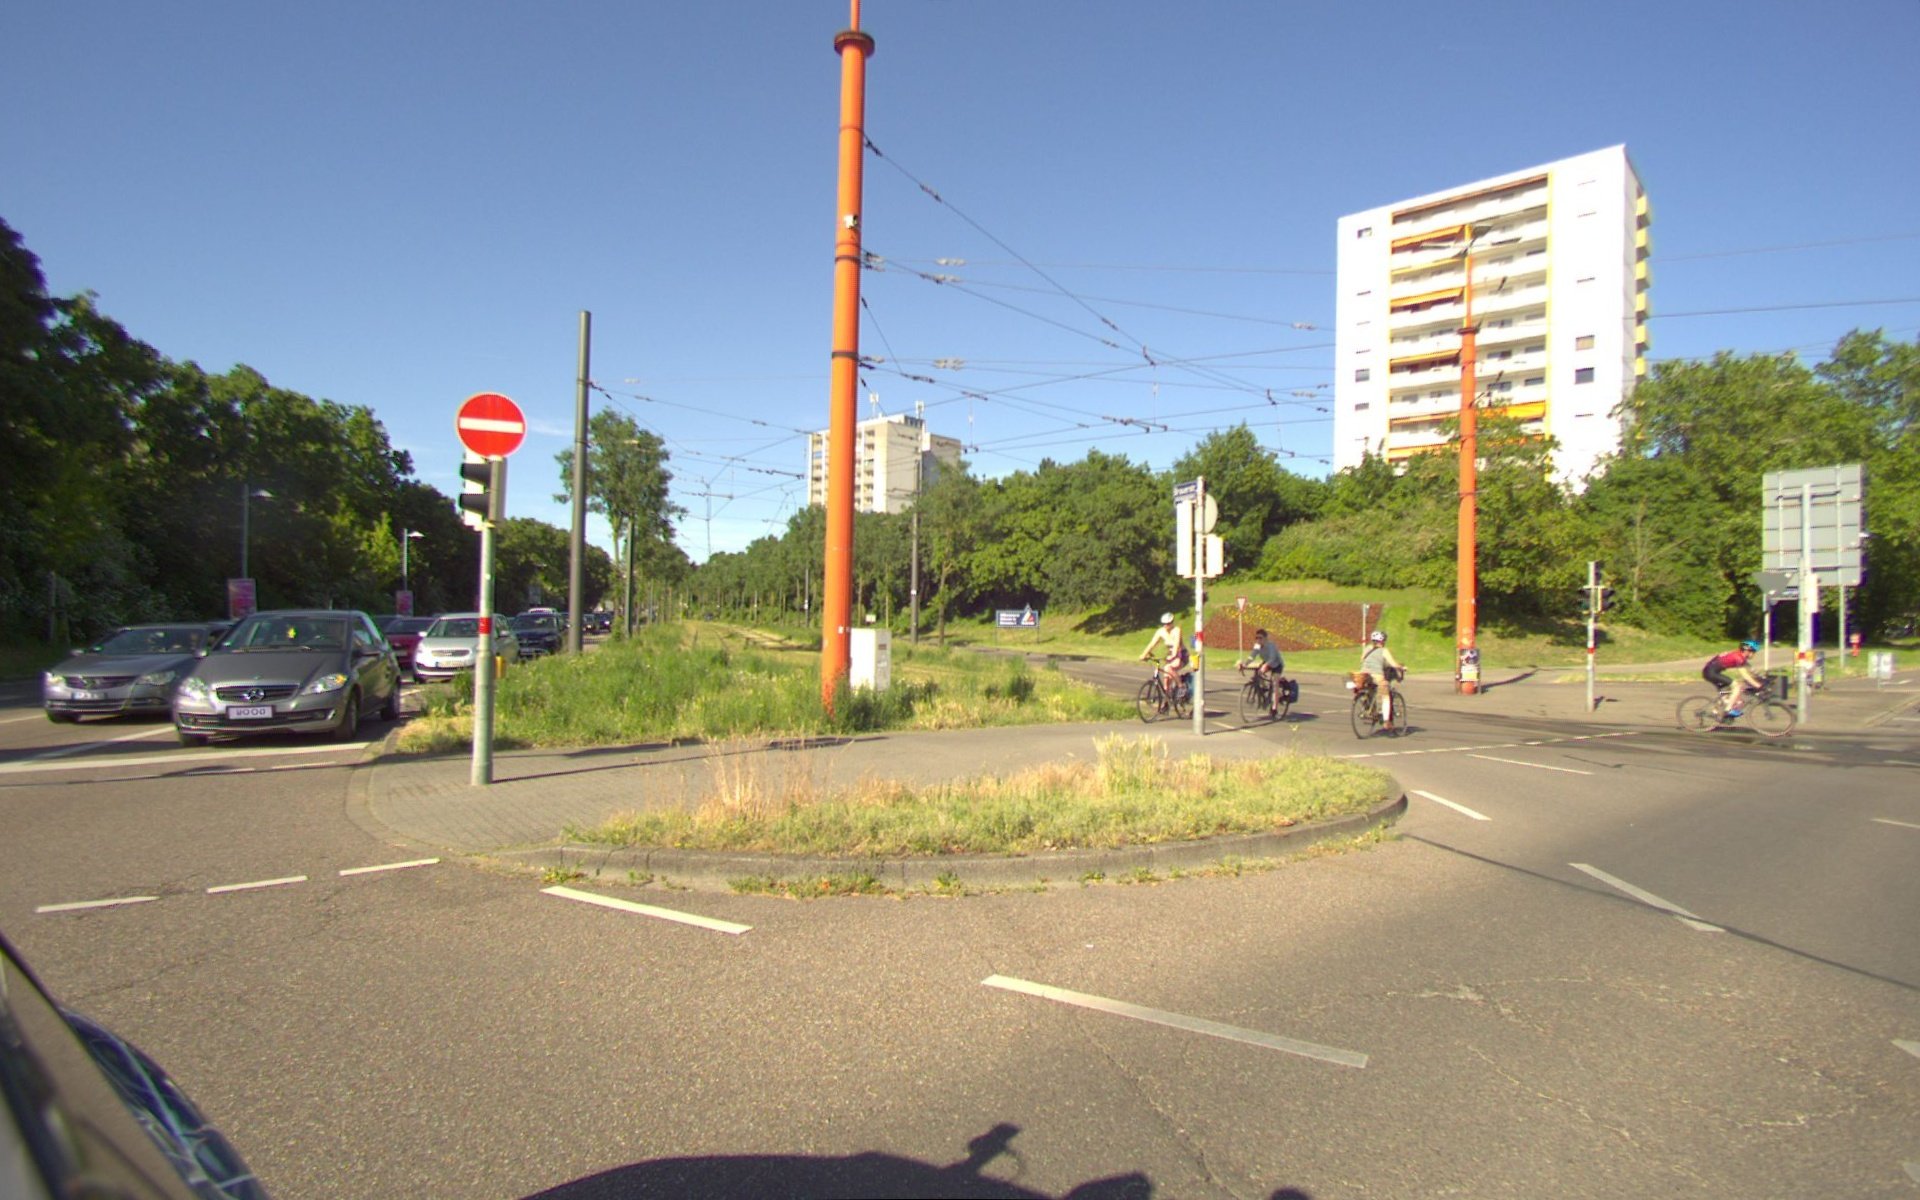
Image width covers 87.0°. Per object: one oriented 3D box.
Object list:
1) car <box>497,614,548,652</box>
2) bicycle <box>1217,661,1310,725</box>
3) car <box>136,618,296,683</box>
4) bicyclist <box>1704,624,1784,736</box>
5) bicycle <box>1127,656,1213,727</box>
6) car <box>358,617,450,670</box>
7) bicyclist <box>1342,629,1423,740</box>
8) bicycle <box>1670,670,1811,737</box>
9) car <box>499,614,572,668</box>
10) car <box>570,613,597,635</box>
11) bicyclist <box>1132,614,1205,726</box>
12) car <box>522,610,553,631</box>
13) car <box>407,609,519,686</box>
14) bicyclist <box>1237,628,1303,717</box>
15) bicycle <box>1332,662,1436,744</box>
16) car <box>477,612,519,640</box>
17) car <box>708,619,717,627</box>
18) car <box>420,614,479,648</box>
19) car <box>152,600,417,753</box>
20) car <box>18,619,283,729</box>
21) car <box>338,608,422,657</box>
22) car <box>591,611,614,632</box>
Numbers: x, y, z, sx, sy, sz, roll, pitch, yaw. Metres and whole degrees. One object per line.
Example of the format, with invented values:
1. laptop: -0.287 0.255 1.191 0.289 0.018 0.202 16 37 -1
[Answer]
1. car: -20.411 1.506 47.327 1.720 1.674 4.012 0 -1 -16
2. bicycle: 5.453 1.638 18.111 1.884 1.080 0.581 2 -2 -37
3. car: -18.217 1.176 25.035 1.720 1.447 4.399 0 -1 -15
4. bicyclist: 14.049 1.403 18.163 0.987 1.927 0.680 -1 -1 28
5. bicycle: 3.675 1.562 17.616 0.579 1.079 1.889 -1 -1 42
6. car: -16.487 1.245 30.179 1.658 1.457 3.738 0 -1 -16
7. bicyclist: 6.538 1.277 15.678 0.814 1.634 0.894 2 -2 -41
8. bicycle: 14.011 1.837 18.229 1.908 1.079 0.685 -1 -1 30
9. car: -13.905 1.330 33.348 1.720 1.674 4.011 1 -2 -16
10. car: -27.606 1.763 74.260 1.604 1.576 3.823 0 -1 -16
11. bicyclist: 3.632 1.183 17.635 0.893 1.881 0.911 -1 -1 42
12. car: -31.534 1.553 75.645 1.686 1.505 3.975 0 -1 -16
13. car: -11.781 1.059 24.228 1.720 1.674 4.012 0 -1 -16
14. bicyclist: 5.586 1.277 18.231 0.909 1.537 0.722 0 -1 -38
15. bicycle: 6.624 1.569 15.762 1.886 1.139 0.741 2 -2 -41
16. car: -26.118 1.458 57.303 1.625 1.541 3.907 0 -1 -16
17. car: -50.225 4.653 205.155 1.552 1.431 3.920 0 -2 -16
18. car: -23.356 1.403 46.397 1.686 1.505 3.975 0 -1 -16
19. car: -8.470 0.870 13.119 1.720 1.653 4.012 0 -1 -16
20. car: -12.207 1.021 15.630 1.686 1.449 4.183 0 -1 -16
21. car: -20.970 1.160 36.768 1.720 1.674 4.012 1 -2 -16
22. car: -30.285 1.812 85.839 1.667 1.674 3.838 0 -1 -16
